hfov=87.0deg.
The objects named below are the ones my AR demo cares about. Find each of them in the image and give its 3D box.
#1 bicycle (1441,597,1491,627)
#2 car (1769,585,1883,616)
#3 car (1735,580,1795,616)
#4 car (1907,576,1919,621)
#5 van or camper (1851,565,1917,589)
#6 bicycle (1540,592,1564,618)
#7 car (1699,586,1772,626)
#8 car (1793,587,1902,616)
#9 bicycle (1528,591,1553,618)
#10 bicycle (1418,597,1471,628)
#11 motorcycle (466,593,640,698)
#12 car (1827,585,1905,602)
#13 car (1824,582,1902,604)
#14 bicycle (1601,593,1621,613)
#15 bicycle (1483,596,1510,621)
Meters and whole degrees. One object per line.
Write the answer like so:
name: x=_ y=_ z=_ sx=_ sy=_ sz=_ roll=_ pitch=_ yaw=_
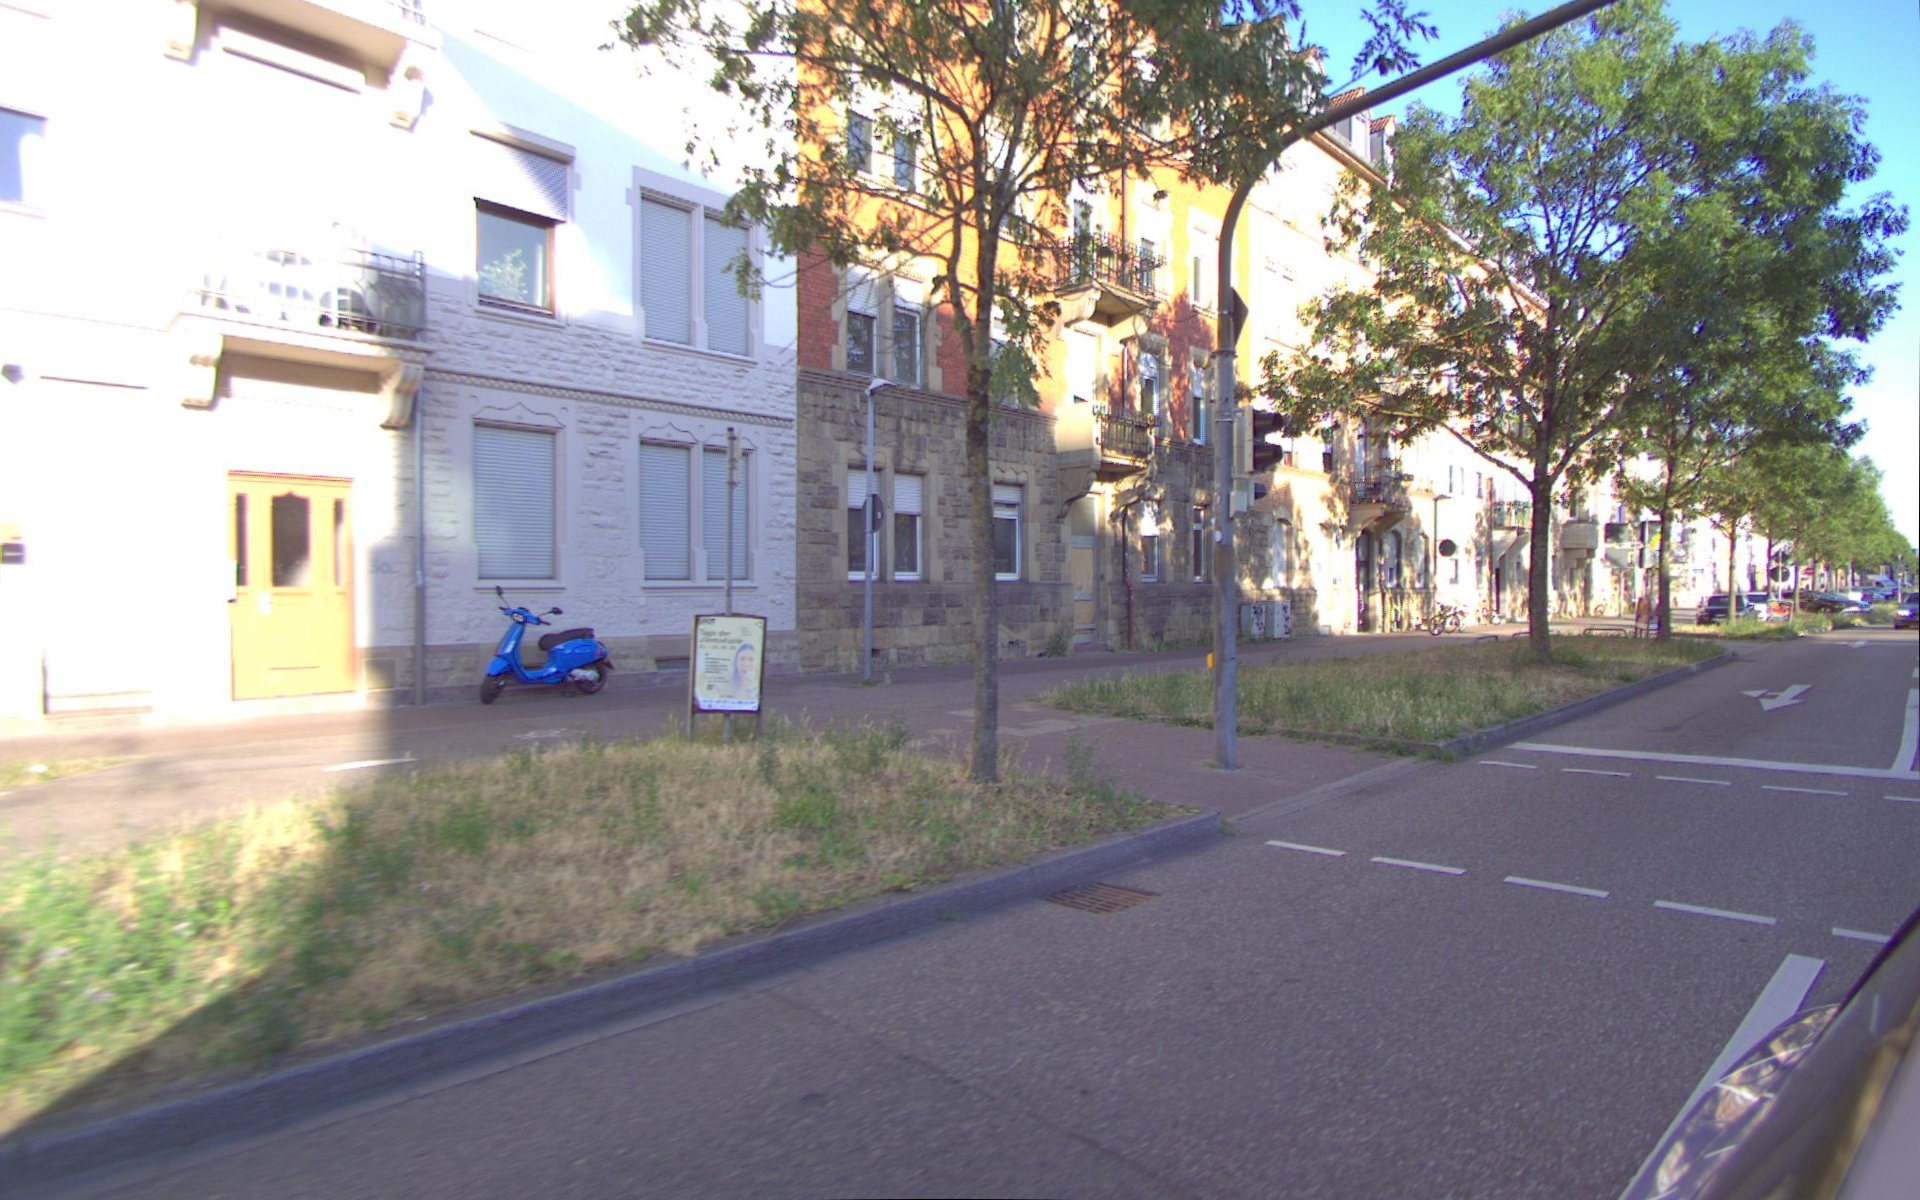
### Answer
bicycle: x=17.364 y=0.390 z=34.692 sx=2.299 sy=0.960 sz=0.735 roll=-1 pitch=2 yaw=-42
car: x=47.233 y=0.040 z=55.327 sx=1.960 sy=1.592 sz=4.348 roll=0 pitch=-1 yaw=-12
car: x=37.526 y=-0.110 z=47.143 sx=1.725 sy=1.531 sz=4.204 roll=-4 pitch=-2 yaw=44
car: x=37.336 y=-0.080 z=38.370 sx=1.994 sy=1.686 sz=3.936 roll=1 pitch=1 yaw=45
van or camper: x=112.610 y=-2.801 z=123.398 sx=2.158 sy=2.847 sz=5.663 roll=0 pitch=1 yaw=-14
bicycle: x=27.920 y=0.213 z=47.727 sx=0.484 sy=1.179 sz=1.718 roll=7 pitch=5 yaw=44
car: x=31.032 y=0.206 z=40.467 sx=4.219 sy=1.467 sz=1.704 roll=-1 pitch=-2 yaw=-45
car: x=49.424 y=0.047 z=56.476 sx=1.808 sy=1.541 sz=4.295 roll=0 pitch=0 yaw=-13
bicycle: x=26.608 y=0.188 z=46.391 sx=0.484 sy=1.179 sz=1.718 roll=7 pitch=5 yaw=44
bicycle: x=15.701 y=0.394 z=32.795 sx=2.050 sy=0.927 sz=0.873 roll=-1 pitch=2 yaw=-44
motorcycle: x=-5.218 y=0.548 z=13.088 sx=0.553 sy=1.229 sz=2.040 roll=-2 pitch=-1 yaw=43
car: x=76.914 y=-0.574 z=85.968 sx=1.988 sy=1.417 sz=4.564 roll=-1 pitch=1 yaw=-14
car: x=72.847 y=-0.584 z=81.717 sx=1.876 sy=1.713 sz=4.440 roll=0 pitch=0 yaw=-10
bicycle: x=36.450 y=0.139 z=56.618 sx=0.572 sy=1.087 sz=1.866 roll=1 pitch=1 yaw=44
bicycle: x=22.100 y=0.334 z=41.686 sx=0.483 sy=1.018 sz=1.718 roll=0 pitch=0 yaw=45
